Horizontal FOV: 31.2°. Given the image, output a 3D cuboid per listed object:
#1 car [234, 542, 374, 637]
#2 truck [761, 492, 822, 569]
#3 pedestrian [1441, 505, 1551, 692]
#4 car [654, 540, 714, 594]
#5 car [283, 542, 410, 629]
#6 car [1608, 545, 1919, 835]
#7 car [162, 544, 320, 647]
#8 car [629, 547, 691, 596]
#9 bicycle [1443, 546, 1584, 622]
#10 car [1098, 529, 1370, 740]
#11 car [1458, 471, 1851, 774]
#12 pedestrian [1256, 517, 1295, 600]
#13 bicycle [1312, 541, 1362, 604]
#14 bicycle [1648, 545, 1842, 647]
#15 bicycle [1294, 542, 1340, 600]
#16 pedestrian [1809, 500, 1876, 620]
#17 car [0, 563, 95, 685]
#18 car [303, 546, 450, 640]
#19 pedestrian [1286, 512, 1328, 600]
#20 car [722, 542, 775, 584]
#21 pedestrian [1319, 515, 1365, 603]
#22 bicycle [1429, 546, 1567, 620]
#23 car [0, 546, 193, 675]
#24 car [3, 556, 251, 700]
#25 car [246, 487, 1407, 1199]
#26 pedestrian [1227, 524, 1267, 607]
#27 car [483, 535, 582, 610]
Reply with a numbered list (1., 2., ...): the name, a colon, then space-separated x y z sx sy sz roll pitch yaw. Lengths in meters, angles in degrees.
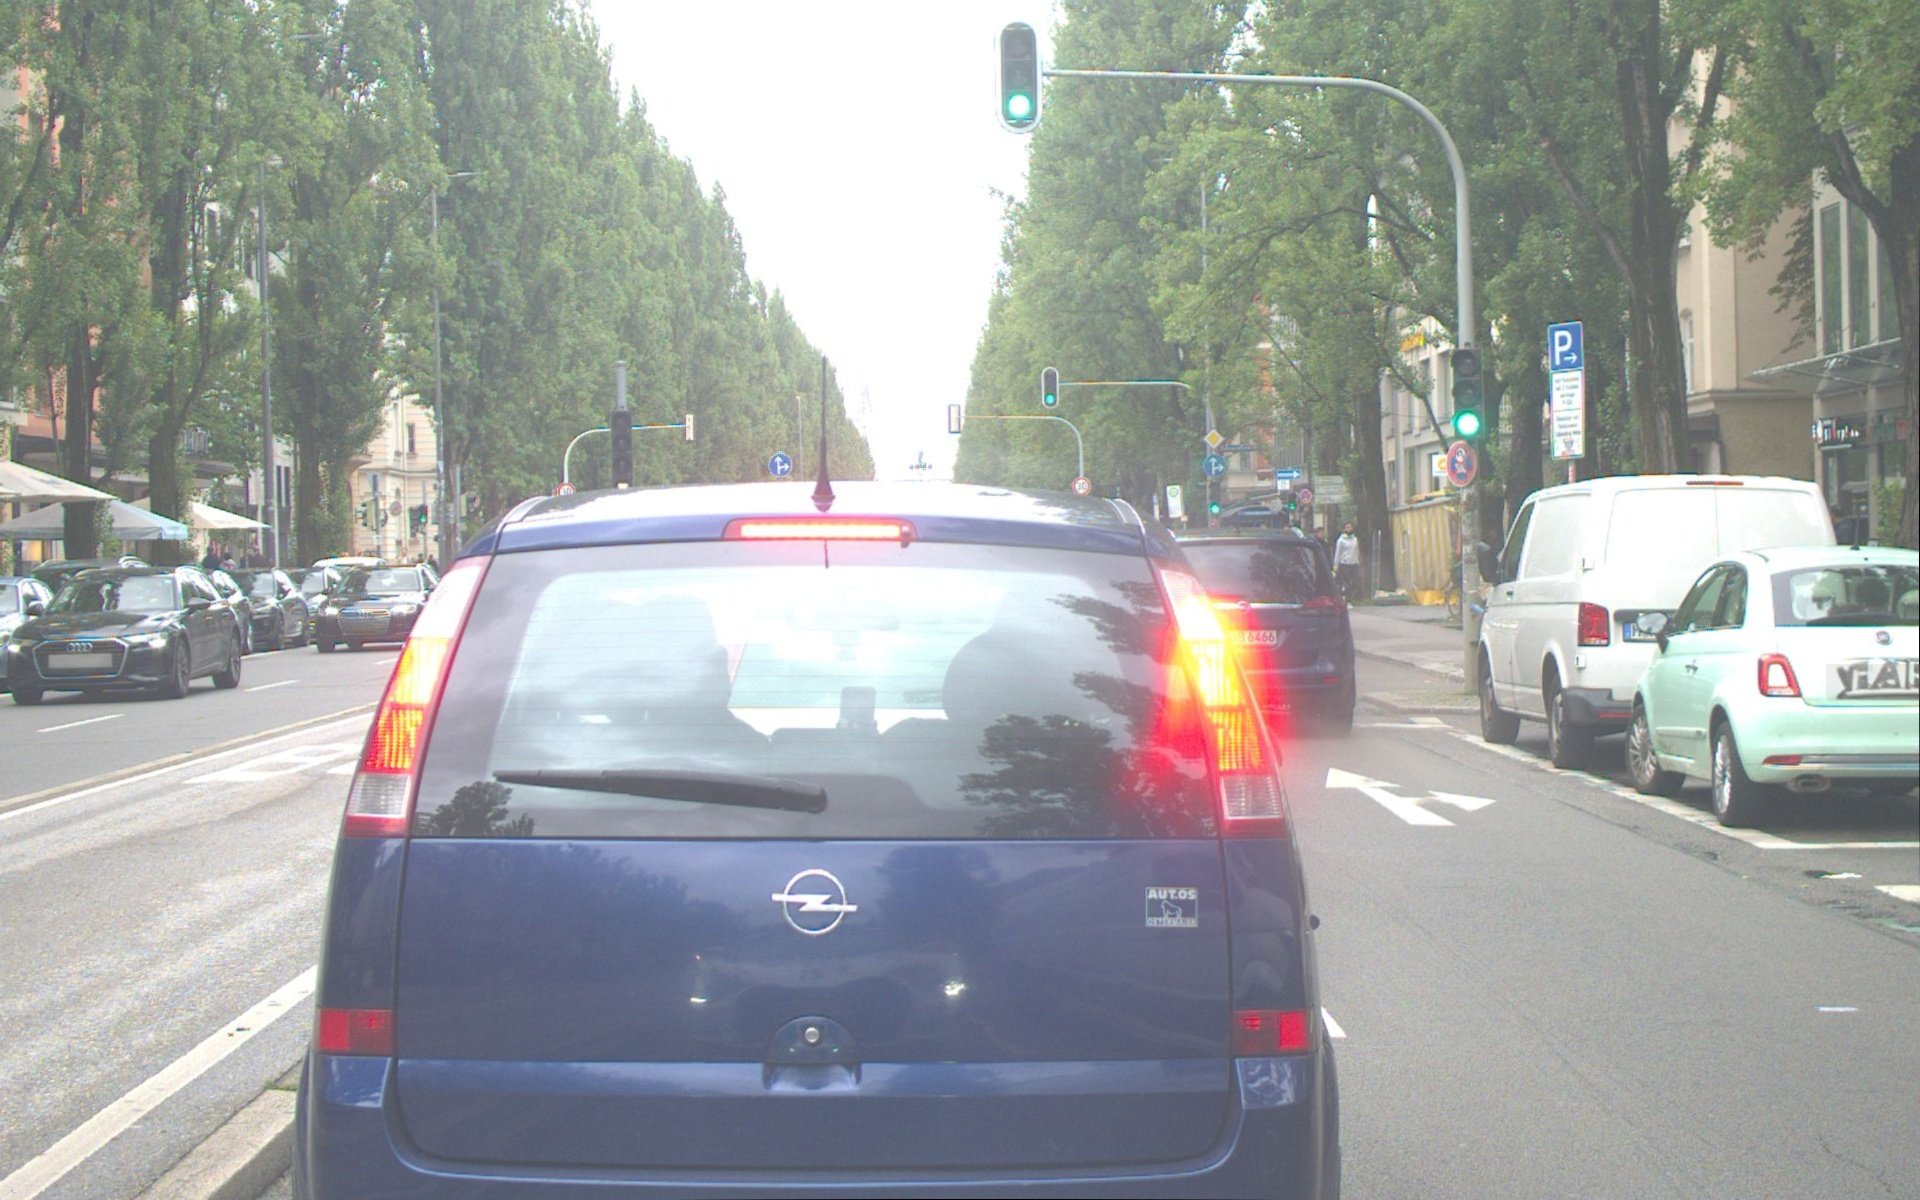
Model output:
1. car: -12.477 -0.231 65.604 1.866 1.660 4.120 -3 1 -1
2. truck: -7.540 -3.135 154.433 2.383 3.335 7.111 -1 1 -1
3. pedestrian: 4.904 -0.018 31.483 0.859 1.678 0.627 -1 1 -3
4. car: -10.556 -1.290 131.829 1.993 2.007 4.000 -1 1 -1
5. car: -12.608 -0.320 70.865 1.866 1.660 4.120 -3 1 -1
6. car: 4.761 0.437 19.429 1.541 1.487 3.523 0 1 0
7. car: -12.515 -0.109 60.078 1.866 1.660 4.120 -3 1 -1
8. car: -10.527 -1.008 120.830 1.866 1.660 4.120 -1 1 -1
9. bicycle: 9.242 -0.272 57.411 2.227 1.200 0.626 -1 1 -2
10. car: 2.177 0.226 28.320 1.896 1.616 4.000 0 1 0
11. car: 4.818 0.102 24.519 1.787 1.939 4.731 0 1 -1
12. pedestrian: 6.982 -0.922 76.131 0.636 1.820 0.888 1 0 -10
13. bicycle: 8.244 -0.613 75.234 0.772 1.344 2.449 -1 1 -1
14. bicycle: 9.694 -0.058 42.486 2.227 1.200 0.626 -1 1 -2
15. bicycle: 8.403 -0.695 81.049 0.772 1.344 2.449 -1 1 -1
16. pedestrian: 12.578 -0.567 48.998 0.673 1.680 0.759 -2 0 -5
17. car: -12.253 0.303 43.151 1.733 1.421 4.144 -3 1 -1
18. car: -9.757 -0.150 57.763 1.745 1.429 4.130 -3 1 -1
19. pedestrian: 7.250 -0.923 71.822 0.636 1.820 0.888 1 0 -10
20. car: -7.682 -1.345 124.951 1.735 1.460 3.365 -1 1 -1
21. pedestrian: 7.987 -0.851 71.953 0.719 1.820 0.888 1 0 -10
22. bicycle: 9.201 -0.290 58.789 2.227 1.200 0.626 -1 1 -2
23. car: -12.339 0.108 48.836 1.866 1.660 4.401 -3 1 -1
24. car: -9.488 0.271 39.522 1.697 1.457 4.713 -3 1 -1
25. car: -0.205 0.581 6.961 1.671 1.563 4.000 0 1 0
26. pedestrian: 6.344 -0.769 75.973 0.636 1.820 0.888 1 0 -10
27. car: -9.762 -0.656 78.777 1.770 1.629 4.456 -2 1 -1
